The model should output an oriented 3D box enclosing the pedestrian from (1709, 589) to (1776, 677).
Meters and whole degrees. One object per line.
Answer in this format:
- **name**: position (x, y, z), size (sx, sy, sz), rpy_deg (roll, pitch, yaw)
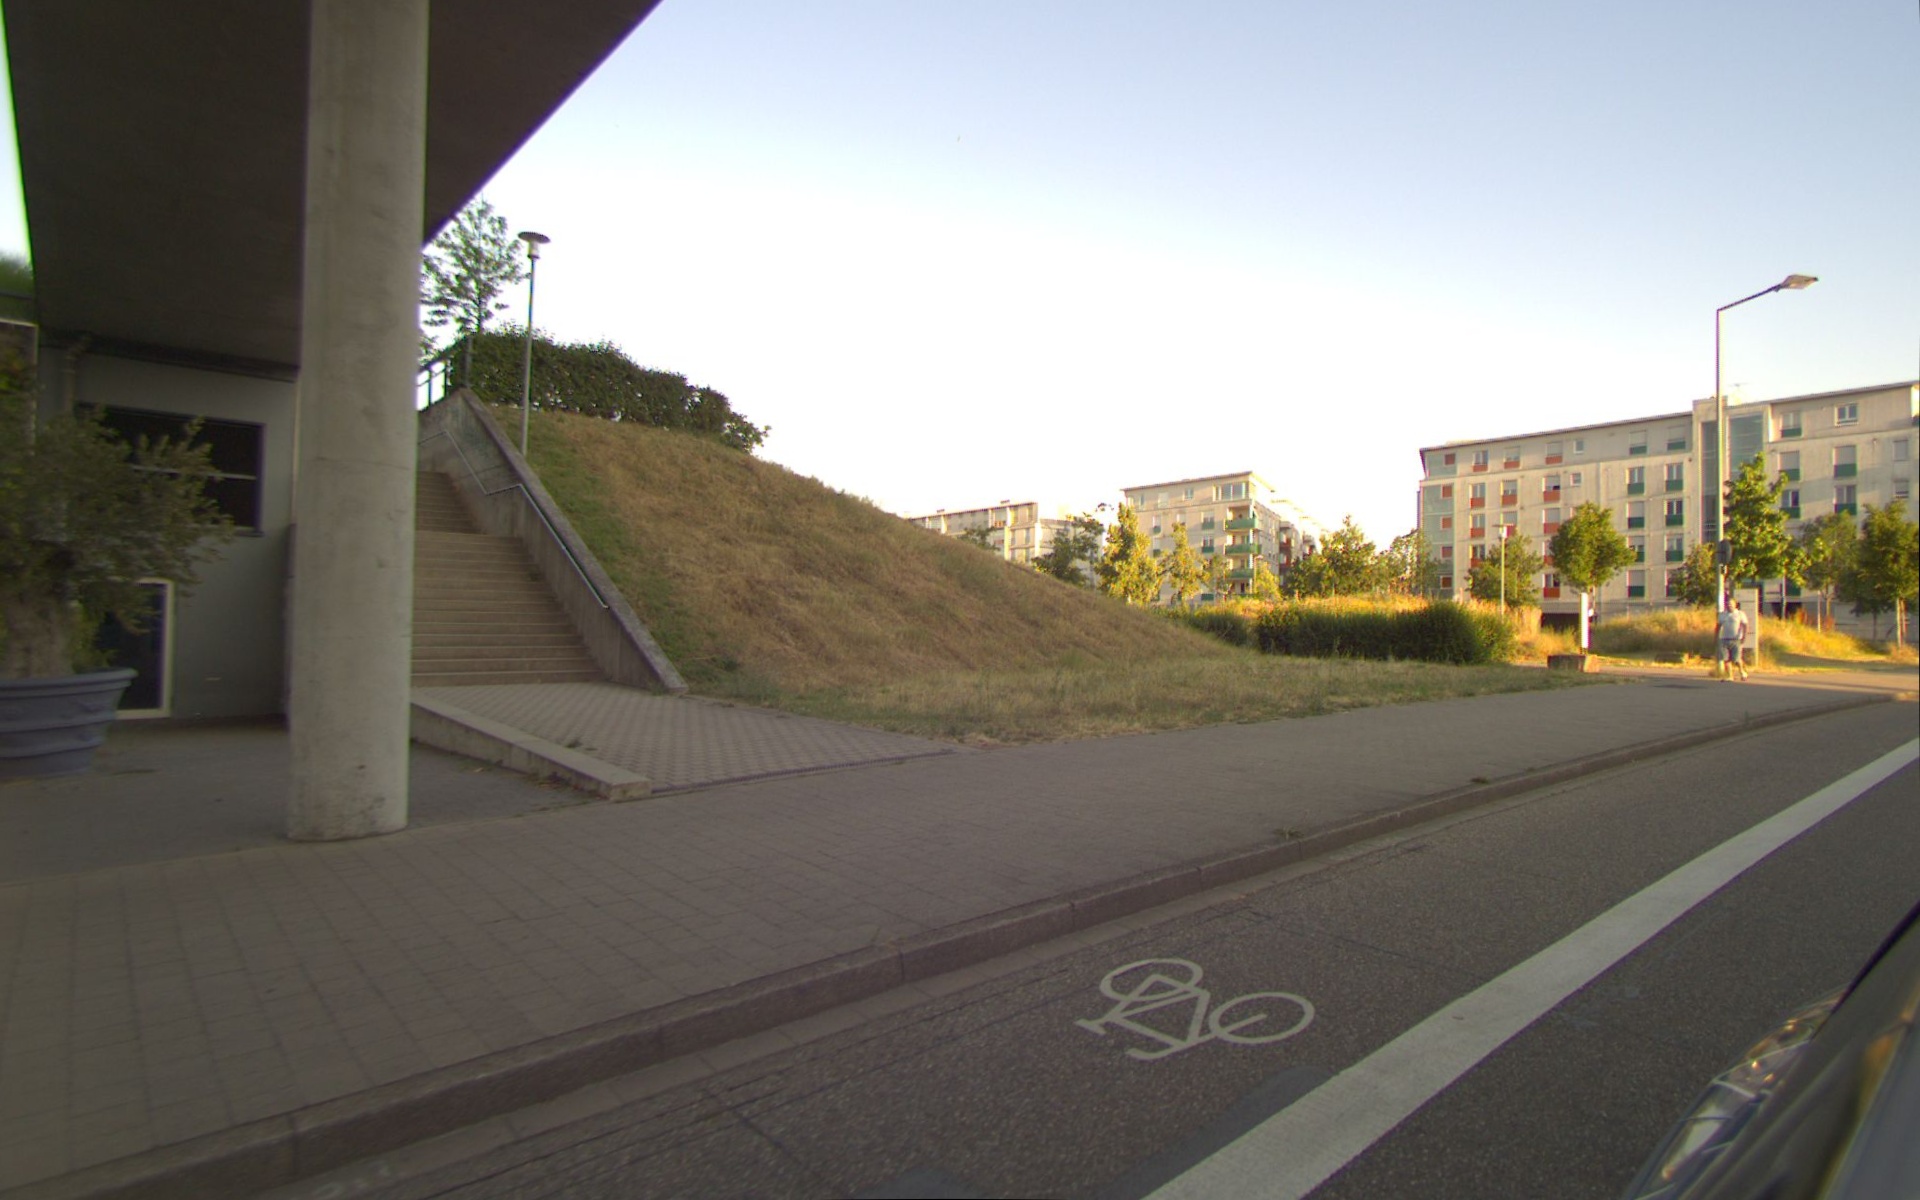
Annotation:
- **pedestrian**: position (16.476, 0.684, 21.320), size (0.802, 1.788, 0.835), rpy_deg (1, 1, -33)
